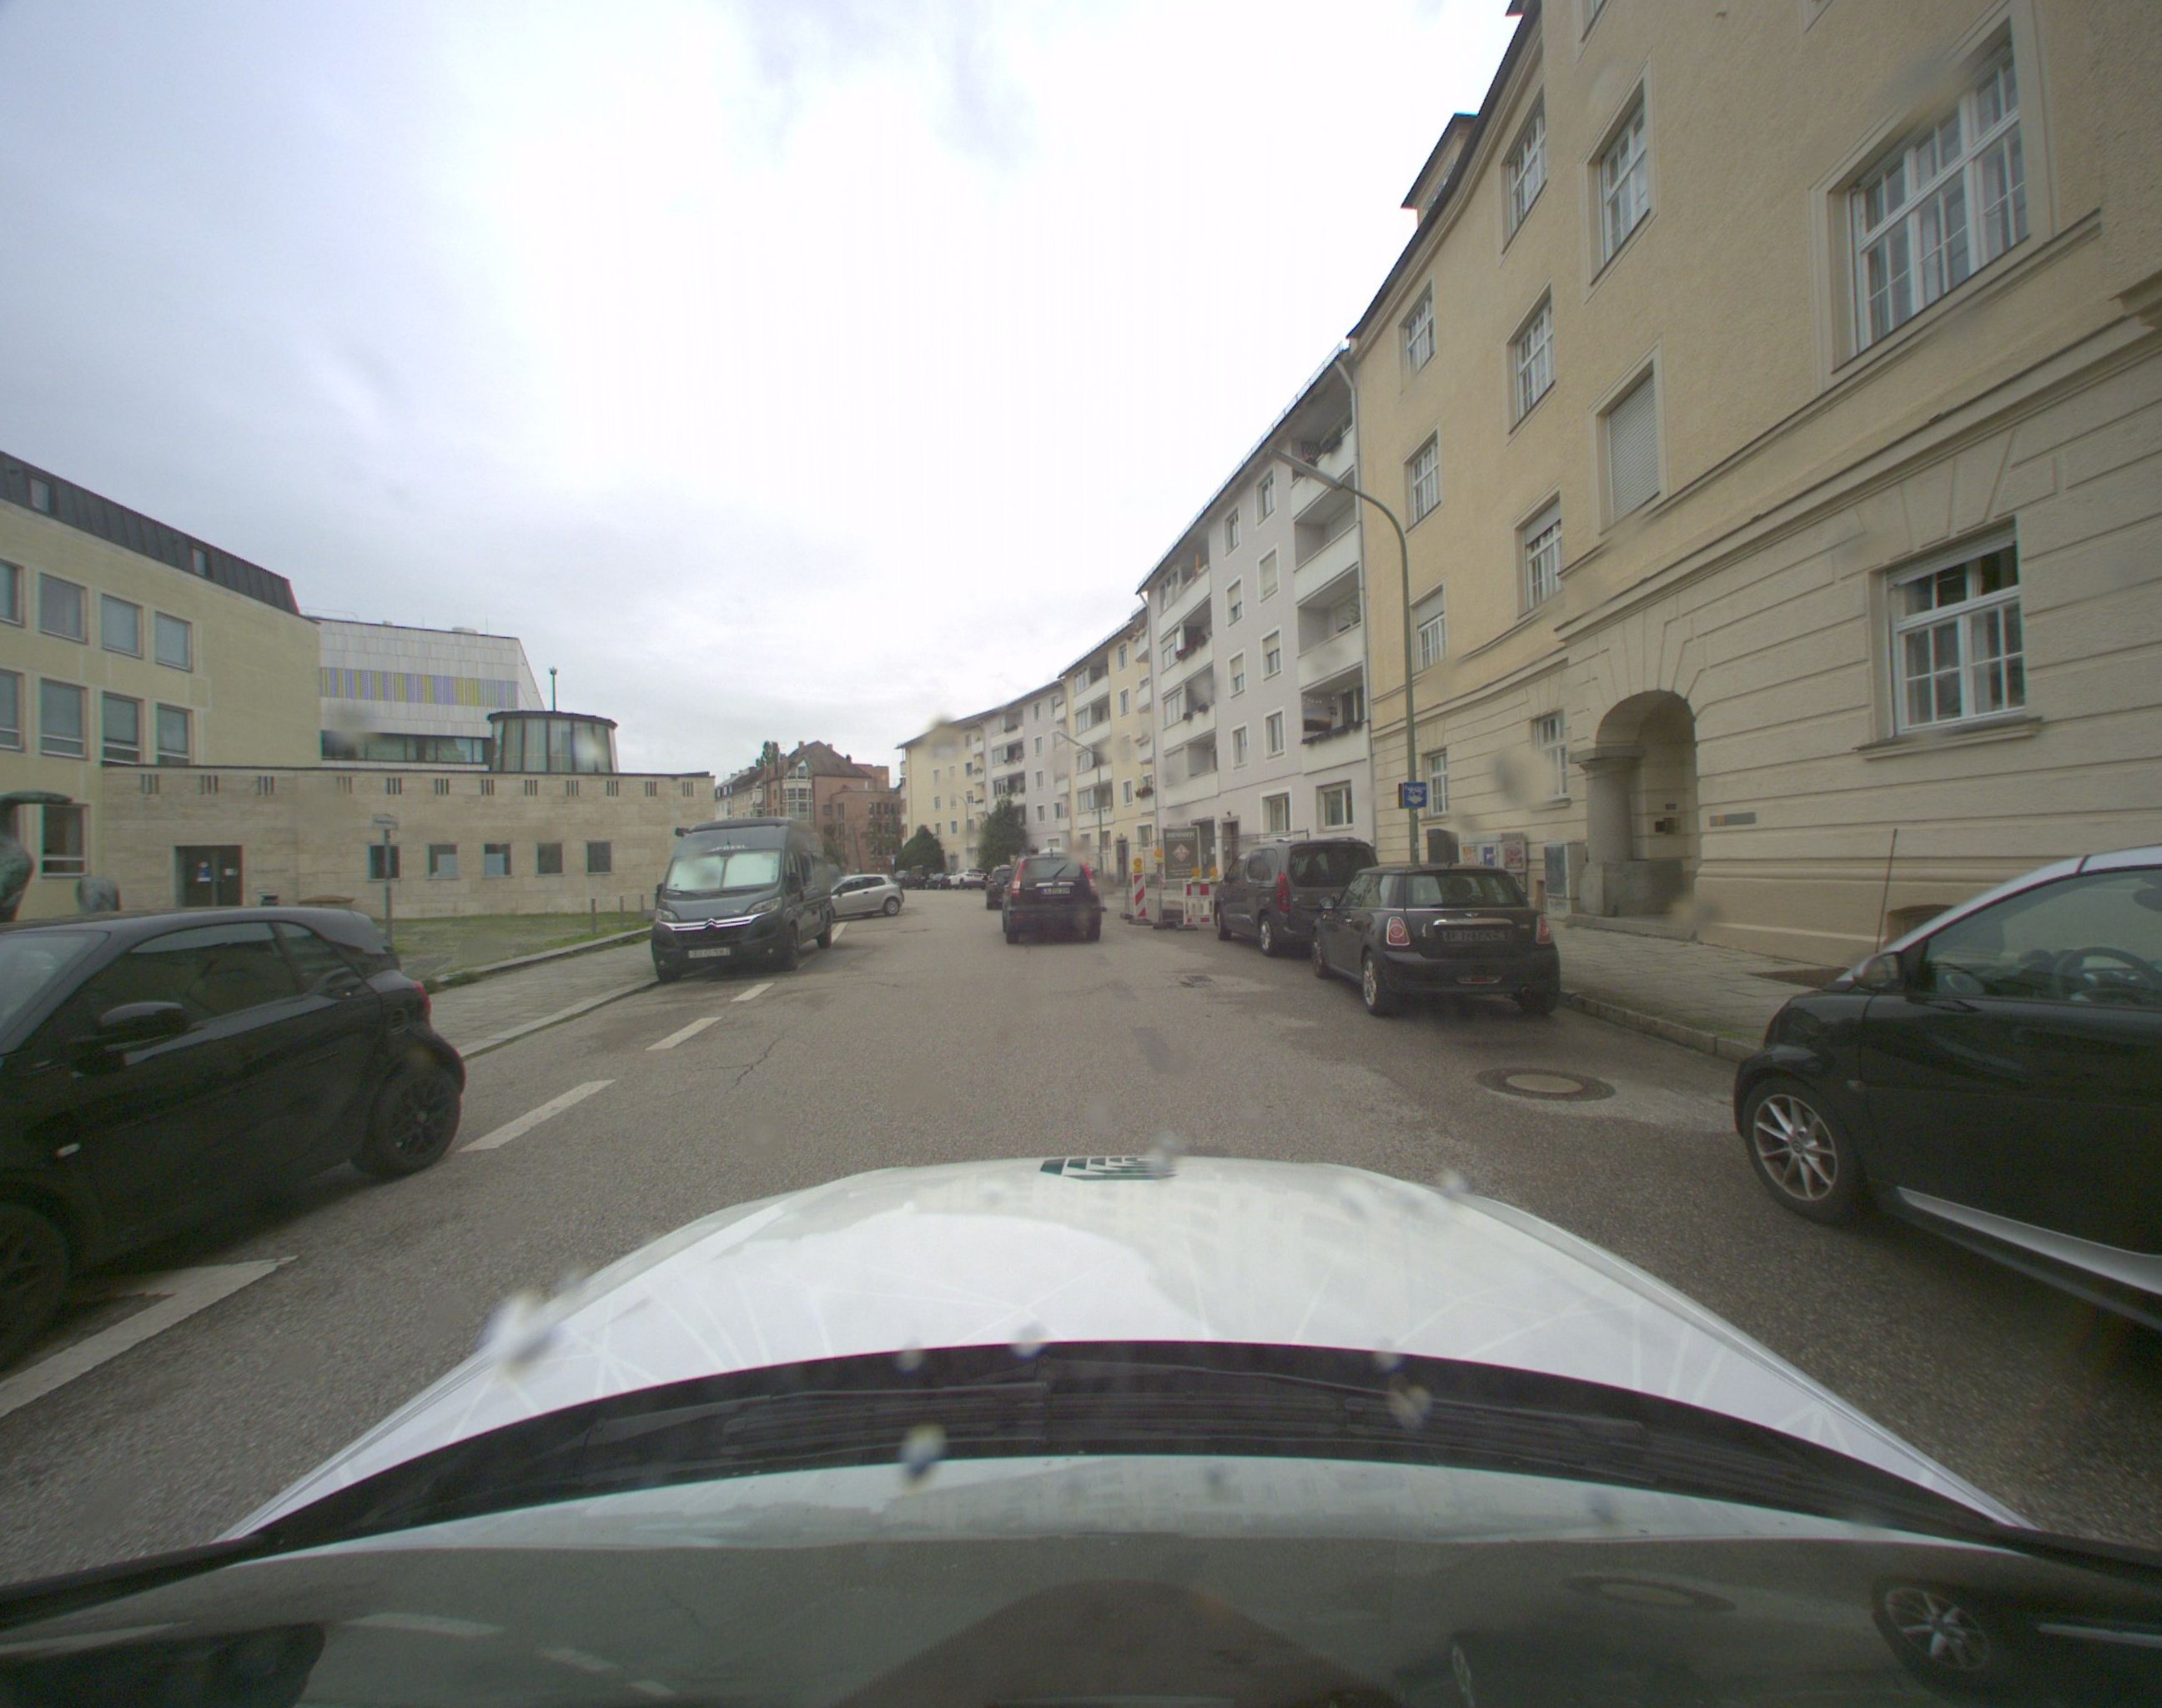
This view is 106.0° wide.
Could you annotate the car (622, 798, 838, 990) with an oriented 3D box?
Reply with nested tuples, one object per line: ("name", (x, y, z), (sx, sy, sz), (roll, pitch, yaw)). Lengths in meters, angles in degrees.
("car", (-5.943, 0.593, 14.751), (2.165, 2.641, 5.995), (-3, 0, -11))

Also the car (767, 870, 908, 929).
("car", (-8.027, 1.475, 27.114), (1.663, 1.481, 4.112), (-7, -2, 43))

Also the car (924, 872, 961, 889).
("car", (-10.969, 2.076, 64.306), (1.708, 1.236, 3.566), (-1, -1, -30))

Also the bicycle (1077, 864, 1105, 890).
("bicycle", (0.549, 1.278, 45.970), (0.969, 1.388, 2.553), (-1, -1, -12))

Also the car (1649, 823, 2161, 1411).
("car", (3.605, 0.681, 2.643), (1.528, 1.524, 3.114), (-1, -1, 5))

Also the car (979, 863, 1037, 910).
("car", (-2.630, 1.087, 28.677), (1.679, 1.481, 4.072), (-2, -1, -10))

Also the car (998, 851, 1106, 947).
("car", (-0.689, 0.833, 16.595), (1.888, 1.647, 3.983), (-2, -1, -5))

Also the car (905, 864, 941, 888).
("car", (-13.240, 1.806, 68.233), (1.735, 1.878, 3.961), (-1, -1, -30))

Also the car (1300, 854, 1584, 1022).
("car", (3.655, 0.756, 9.029), (1.700, 1.447, 3.834), (-1, -1, 5))

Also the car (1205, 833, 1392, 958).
("car", (3.506, 0.622, 14.014), (1.775, 1.807, 4.268), (0, -1, -5))

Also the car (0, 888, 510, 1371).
("car", (-4.435, 1.000, 3.631), (1.666, 1.502, 2.975), (-4, -1, -3))

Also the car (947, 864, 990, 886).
("car", (-8.319, 1.540, 59.984), (1.735, 1.483, 3.961), (-1, -1, -30))

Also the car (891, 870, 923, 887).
("car", (-15.435, 2.142, 72.095), (1.708, 1.389, 3.566), (-1, -1, -30))

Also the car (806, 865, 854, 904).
("car", (-12.000, 1.422, 38.750), (1.686, 1.707, 4.477), (-1, -1, -23))
